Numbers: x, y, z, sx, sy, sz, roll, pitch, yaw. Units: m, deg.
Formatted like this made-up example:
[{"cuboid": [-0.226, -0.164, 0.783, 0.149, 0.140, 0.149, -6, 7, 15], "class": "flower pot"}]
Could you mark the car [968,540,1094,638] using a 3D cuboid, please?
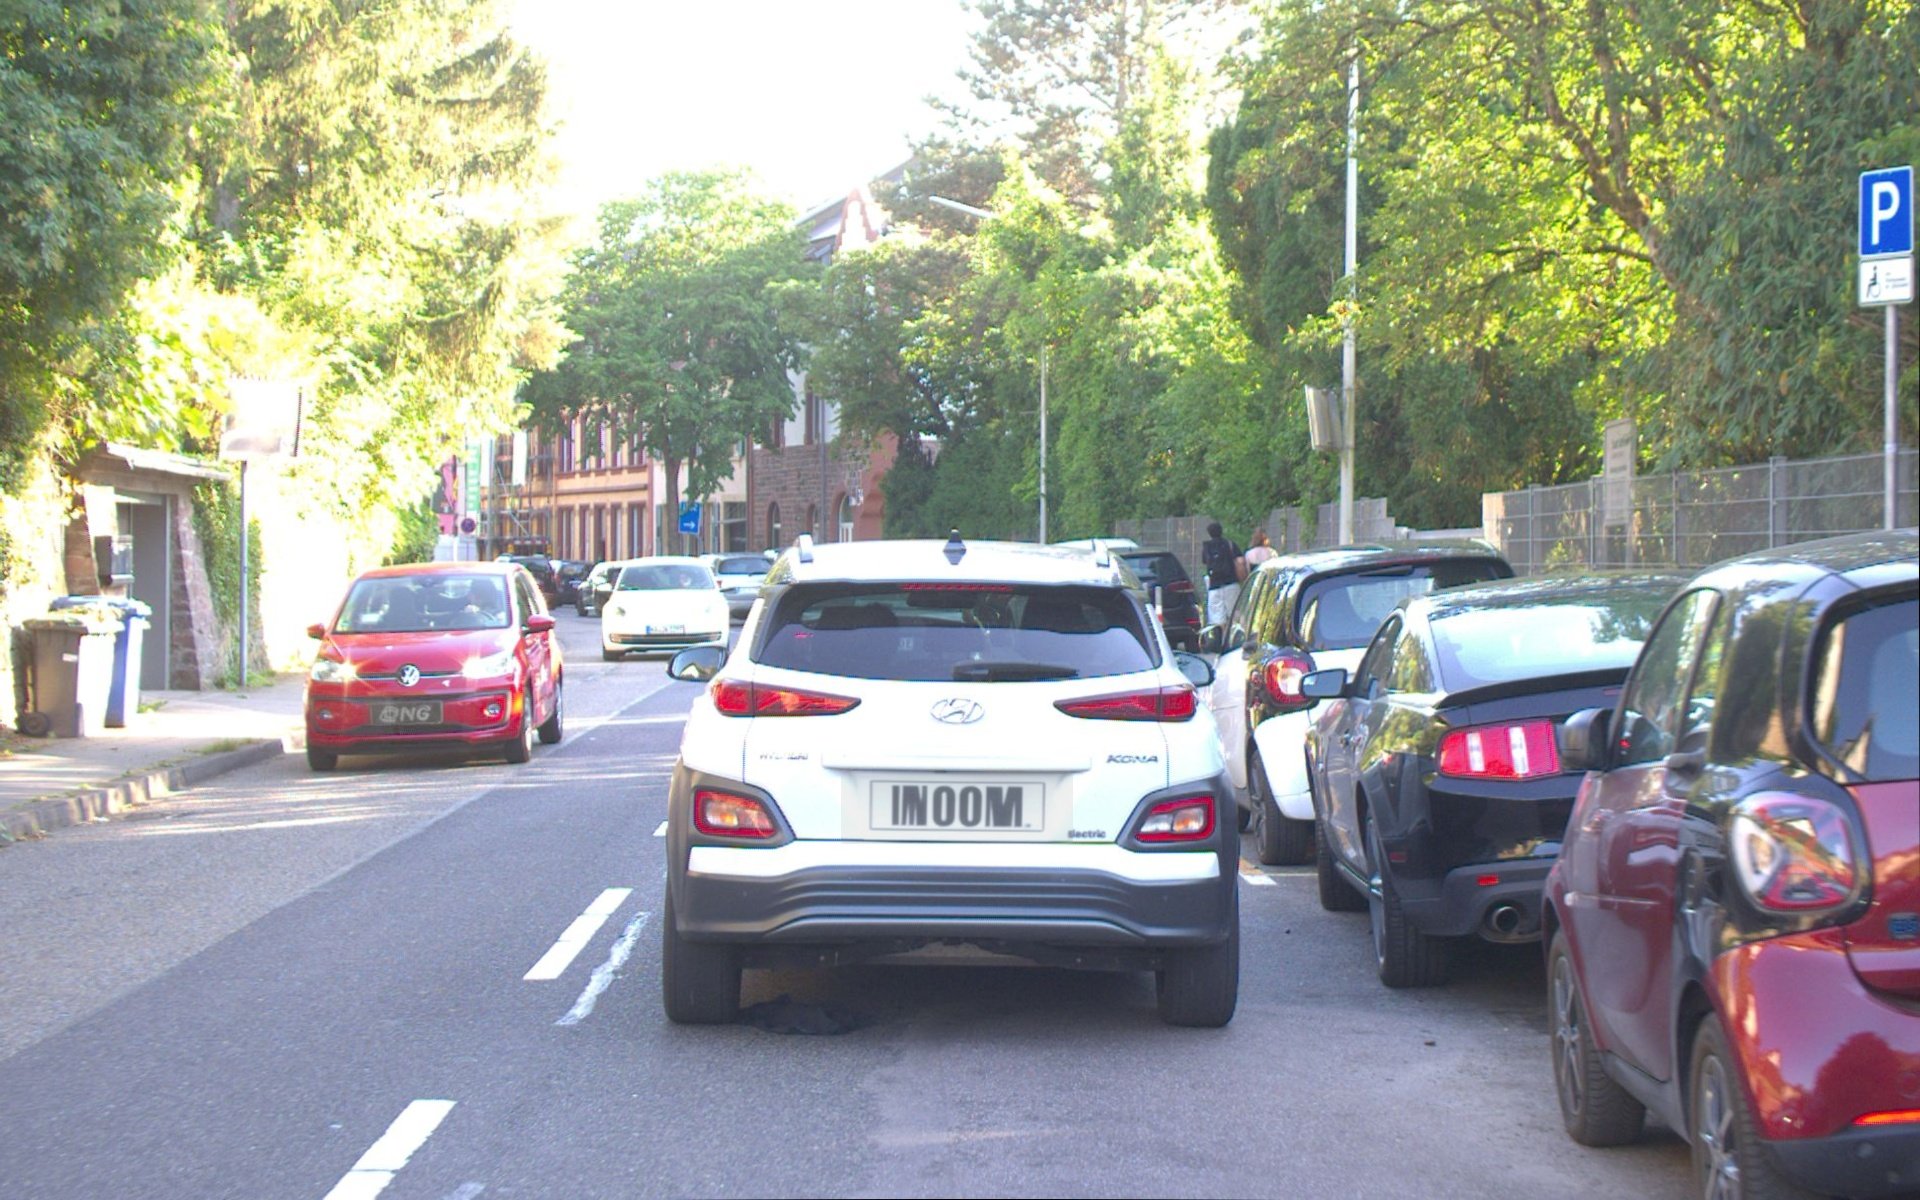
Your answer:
[{"cuboid": [1.143, -0.197, 57.247, 1.593, 1.514, 3.933, -3, 1, -5], "class": "car"}]

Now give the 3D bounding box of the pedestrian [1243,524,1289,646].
[{"cuboid": [4.016, -0.201, 45.124, 0.503, 1.564, 0.503, -2, 1, 0], "class": "pedestrian"}]

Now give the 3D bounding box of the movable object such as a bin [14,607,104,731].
[{"cuboid": [-6.974, 0.531, 26.625, 0.583, 0.934, 0.438, 1, 0, -3], "class": "movable object such as a bin"}]

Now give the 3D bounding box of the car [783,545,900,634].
[{"cuboid": [-2.032, -0.195, 58.277, 1.592, 1.456, 3.100, 0, 1, -9], "class": "car"}]

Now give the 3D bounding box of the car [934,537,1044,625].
[{"cuboid": [0.507, -0.372, 63.129, 1.593, 1.484, 3.603, -3, 1, -5], "class": "car"}]

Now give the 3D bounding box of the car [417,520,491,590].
[{"cuboid": [-19.256, -1.712, 130.807, 1.928, 2.574, 4.395, -1, 1, -19], "class": "car"}]

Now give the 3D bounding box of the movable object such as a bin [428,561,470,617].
[{"cuboid": [-11.054, -0.236, 74.391, 0.792, 1.185, 0.773, 1, 0, -2], "class": "movable object such as a bin"}]

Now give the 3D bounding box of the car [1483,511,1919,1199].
[{"cuboid": [2.300, 0.575, 8.036, 1.653, 1.559, 2.872, -5, 0, 1], "class": "car"}]

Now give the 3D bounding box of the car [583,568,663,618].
[{"cuboid": [-8.766, -0.202, 89.303, 1.526, 1.256, 3.362, -1, 1, -15], "class": "car"}]

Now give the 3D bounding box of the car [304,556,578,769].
[{"cuboid": [-3.888, 0.423, 26.249, 1.550, 1.461, 3.569, -2, 1, -1], "class": "car"}]

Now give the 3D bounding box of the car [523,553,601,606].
[{"cuboid": [-13.044, -0.695, 112.527, 1.755, 1.611, 4.001, 1, 1, -18], "class": "car"}]

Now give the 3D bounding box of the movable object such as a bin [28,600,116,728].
[{"cuboid": [-6.992, 0.500, 27.083, 0.573, 0.981, 0.438, 1, 0, -3], "class": "movable object such as a bin"}]

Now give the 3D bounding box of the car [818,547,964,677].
[{"cuboid": [-0.794, 0.114, 41.407, 1.570, 1.472, 3.548, 1, 1, 2], "class": "car"}]

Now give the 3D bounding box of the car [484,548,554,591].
[{"cuboid": [-13.371, -0.927, 104.135, 1.526, 1.256, 3.362, -1, 1, -18], "class": "car"}]

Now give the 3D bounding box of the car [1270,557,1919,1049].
[{"cuboid": [2.249, 0.612, 13.315, 1.710, 1.492, 4.814, 2, 1, 1], "class": "car"}]

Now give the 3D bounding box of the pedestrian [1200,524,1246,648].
[{"cuboid": [3.445, -0.184, 45.122, 0.503, 1.601, 0.491, -2, 1, 0], "class": "pedestrian"}]

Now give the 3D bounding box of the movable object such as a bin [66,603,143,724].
[{"cuboid": [-6.997, 0.516, 28.141, 0.490, 0.961, 0.583, 1, 1, -3], "class": "movable object such as a bin"}]

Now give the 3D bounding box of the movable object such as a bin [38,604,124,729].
[{"cuboid": [-7.045, 0.531, 27.571, 0.573, 0.981, 0.438, 1, 0, -3], "class": "movable object such as a bin"}]

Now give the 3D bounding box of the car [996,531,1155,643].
[{"cuboid": [1.707, -0.203, 52.047, 1.593, 1.560, 4.001, -2, 1, -9], "class": "car"}]

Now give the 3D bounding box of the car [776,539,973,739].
[{"cuboid": [-0.749, 0.266, 28.191, 1.511, 1.528, 3.548, 0, 1, -3], "class": "car"}]

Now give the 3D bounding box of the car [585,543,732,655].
[{"cuboid": [-4.362, -0.040, 50.261, 1.741, 1.469, 4.000, -3, 1, 0], "class": "car"}]

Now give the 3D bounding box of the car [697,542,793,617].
[{"cuboid": [-4.696, -0.462, 74.748, 1.589, 1.577, 3.362, 0, 1, -12], "class": "car"}]

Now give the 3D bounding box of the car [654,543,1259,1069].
[{"cuboid": [-0.022, 0.583, 12.158, 1.772, 1.537, 4.000, 1, 1, 0], "class": "car"}]

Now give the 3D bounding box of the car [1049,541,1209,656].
[{"cuboid": [2.244, -0.058, 46.539, 1.686, 1.426, 4.001, -2, 1, -4], "class": "car"}]

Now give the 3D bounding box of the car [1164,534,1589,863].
[{"cuboid": [2.110, 0.446, 18.108, 1.624, 1.504, 2.904, -2, 2, -5], "class": "car"}]
